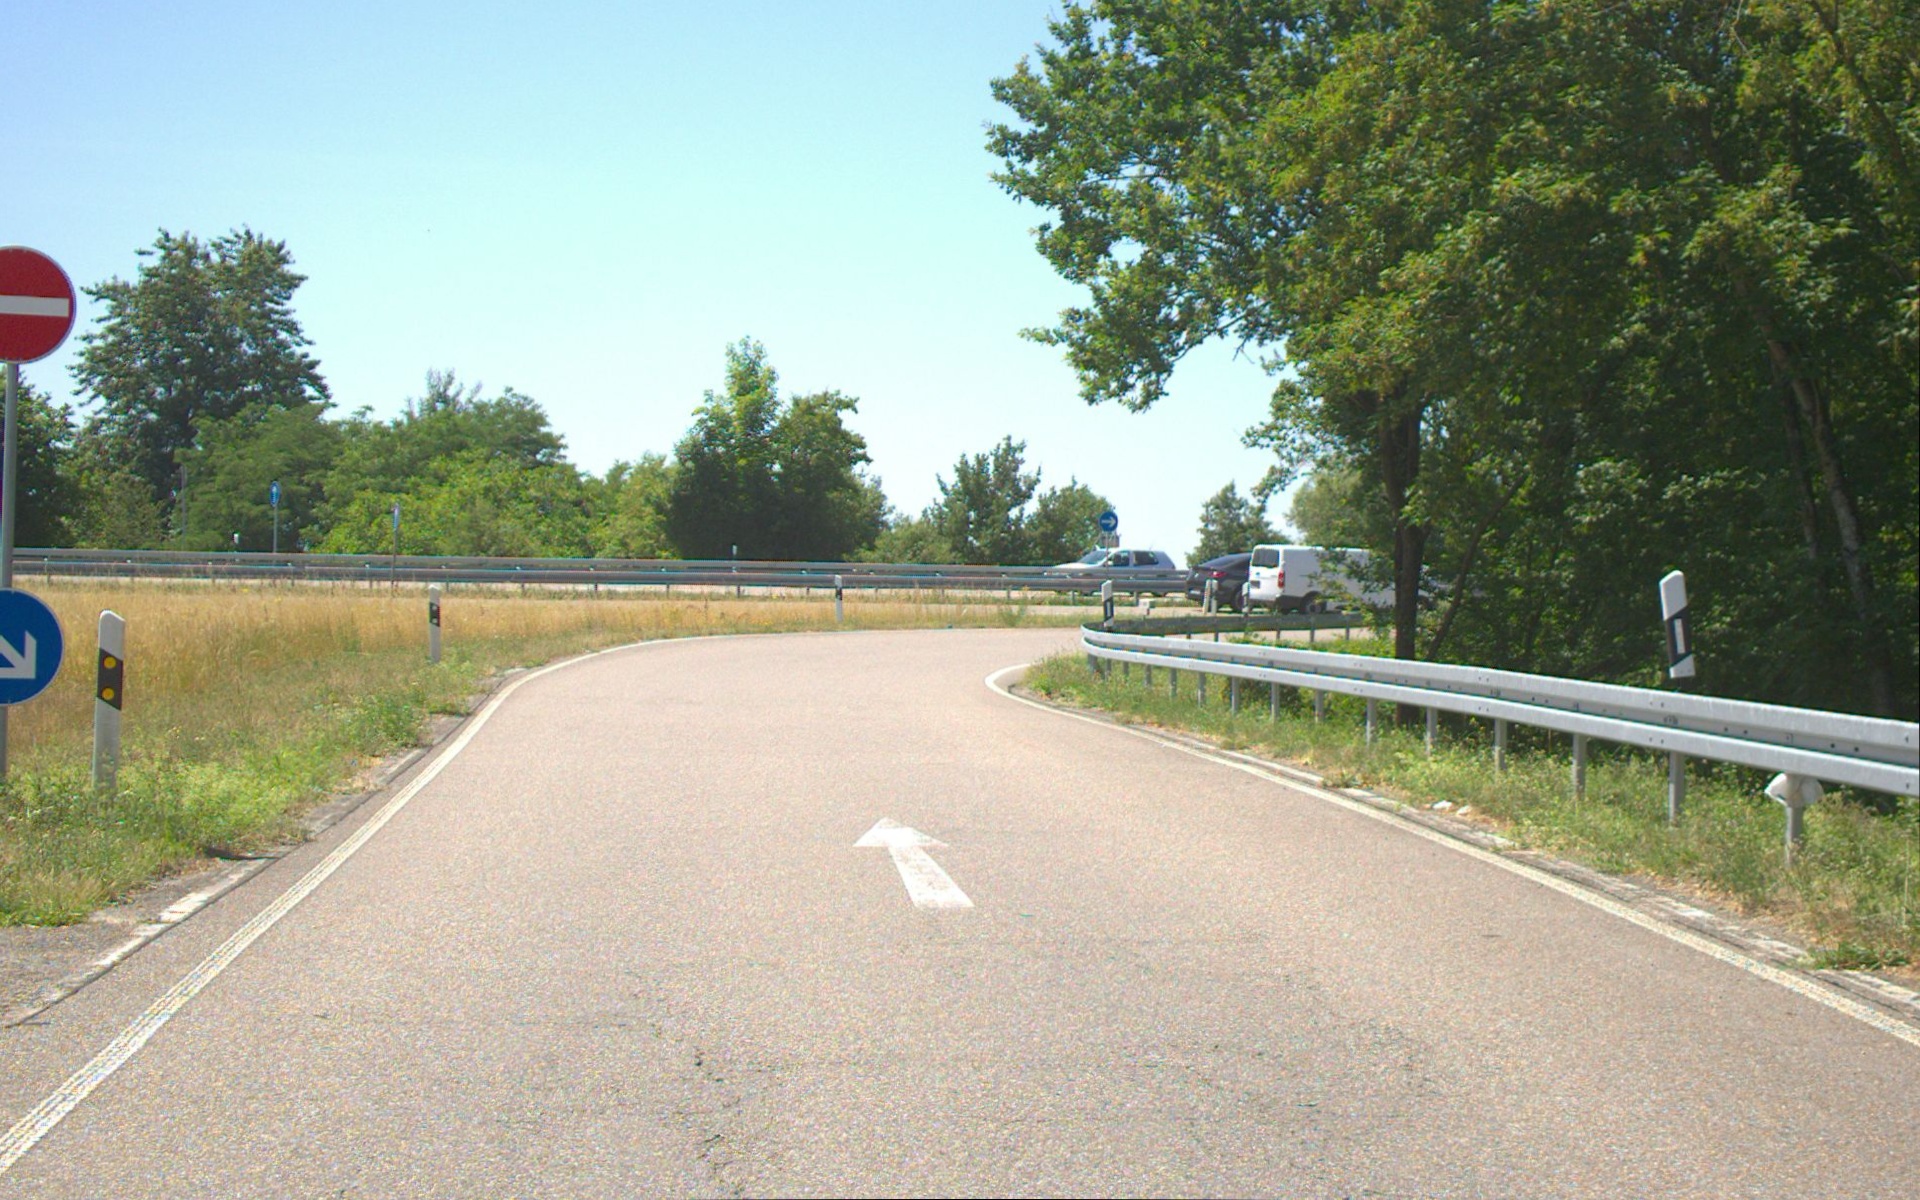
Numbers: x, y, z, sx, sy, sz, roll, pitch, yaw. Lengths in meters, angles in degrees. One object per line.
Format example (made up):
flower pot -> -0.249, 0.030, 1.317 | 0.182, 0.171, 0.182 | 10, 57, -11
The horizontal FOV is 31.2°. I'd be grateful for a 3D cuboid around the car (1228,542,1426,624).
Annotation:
car -> 9.657, -0.441, 90.466 | 4.803, 1.921, 2.000 | 3, -1, -27
